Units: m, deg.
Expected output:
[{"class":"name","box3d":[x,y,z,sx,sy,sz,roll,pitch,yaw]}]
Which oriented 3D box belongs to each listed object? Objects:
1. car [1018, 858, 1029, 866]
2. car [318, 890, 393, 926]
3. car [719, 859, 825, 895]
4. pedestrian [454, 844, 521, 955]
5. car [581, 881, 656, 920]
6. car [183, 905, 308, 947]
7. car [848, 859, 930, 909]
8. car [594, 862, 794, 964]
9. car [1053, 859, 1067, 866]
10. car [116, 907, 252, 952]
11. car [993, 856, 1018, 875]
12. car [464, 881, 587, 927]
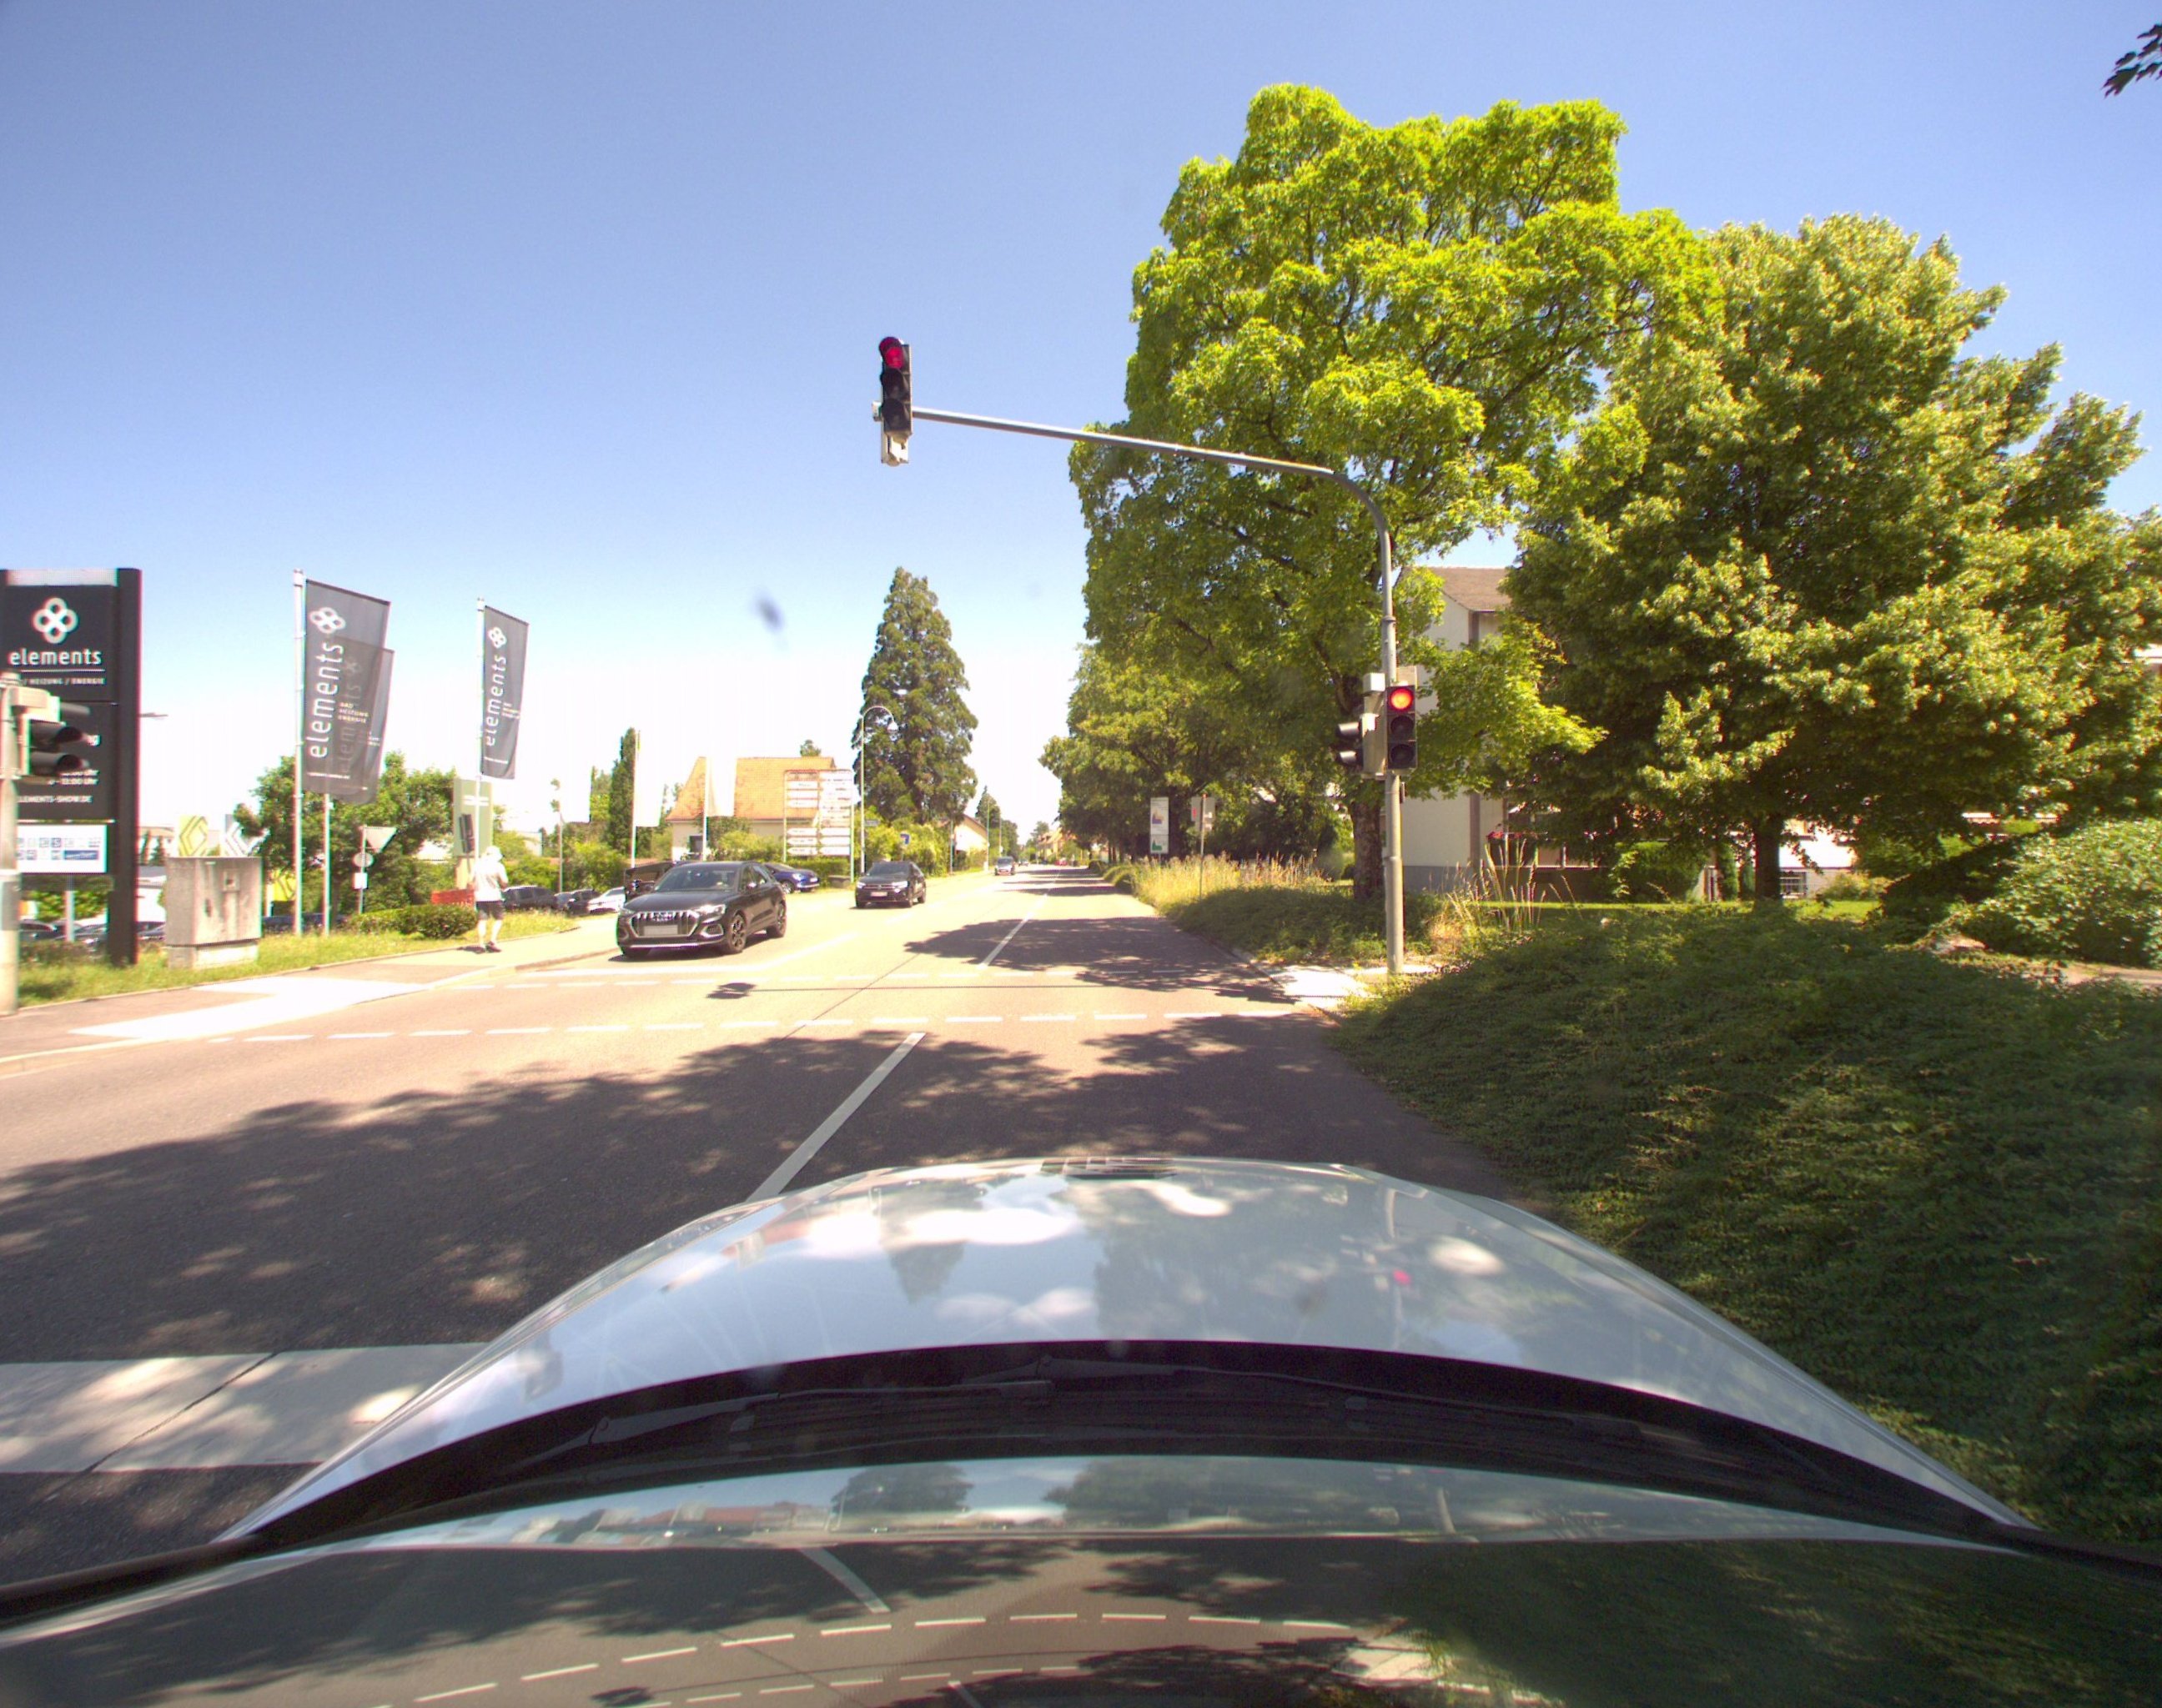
[{"class":"car","box3d":[-11.334,1.653,160.698,1.788,1.536,4.313,-1,0,-1]},{"class":"car","box3d":[-40.112,2.943,45.161,1.816,1.722,4.059,0,0,-22]},{"class":"car","box3d":[-13.912,1.024,36.722,4.109,1.504,1.782,-1,0,10]},{"class":"pedestrian","box3d":[-9.682,0.722,13.290,0.538,1.761,0.706,-1,-1,28]},{"class":"car","box3d":[-23.278,2.294,41.172,1.806,1.722,4.081,0,0,-6]},{"class":"car","box3d":[-34.460,2.931,33.754,1.648,1.415,3.854,-1,0,-10]},{"class":"car","box3d":[-6.308,0.948,27.171,1.864,1.507,4.049,-1,0,-2]},{"class":"car","box3d":[-6.887,0.951,15.071,1.923,1.555,4.295,-1,0,-5]},{"class":"car","box3d":[-4.513,1.809,177.976,1.948,1.359,4.438,-1,0,-16]},{"class":"car","box3d":[-37.117,3.077,33.863,1.754,1.486,3.983,-1,0,-12]},{"class":"car","box3d":[-7.212,1.086,77.937,1.804,1.762,4.571,0,0,1]},{"class":"car","box3d":[-23.434,2.052,34.535,1.795,1.722,4.106,-1,0,16]}]
